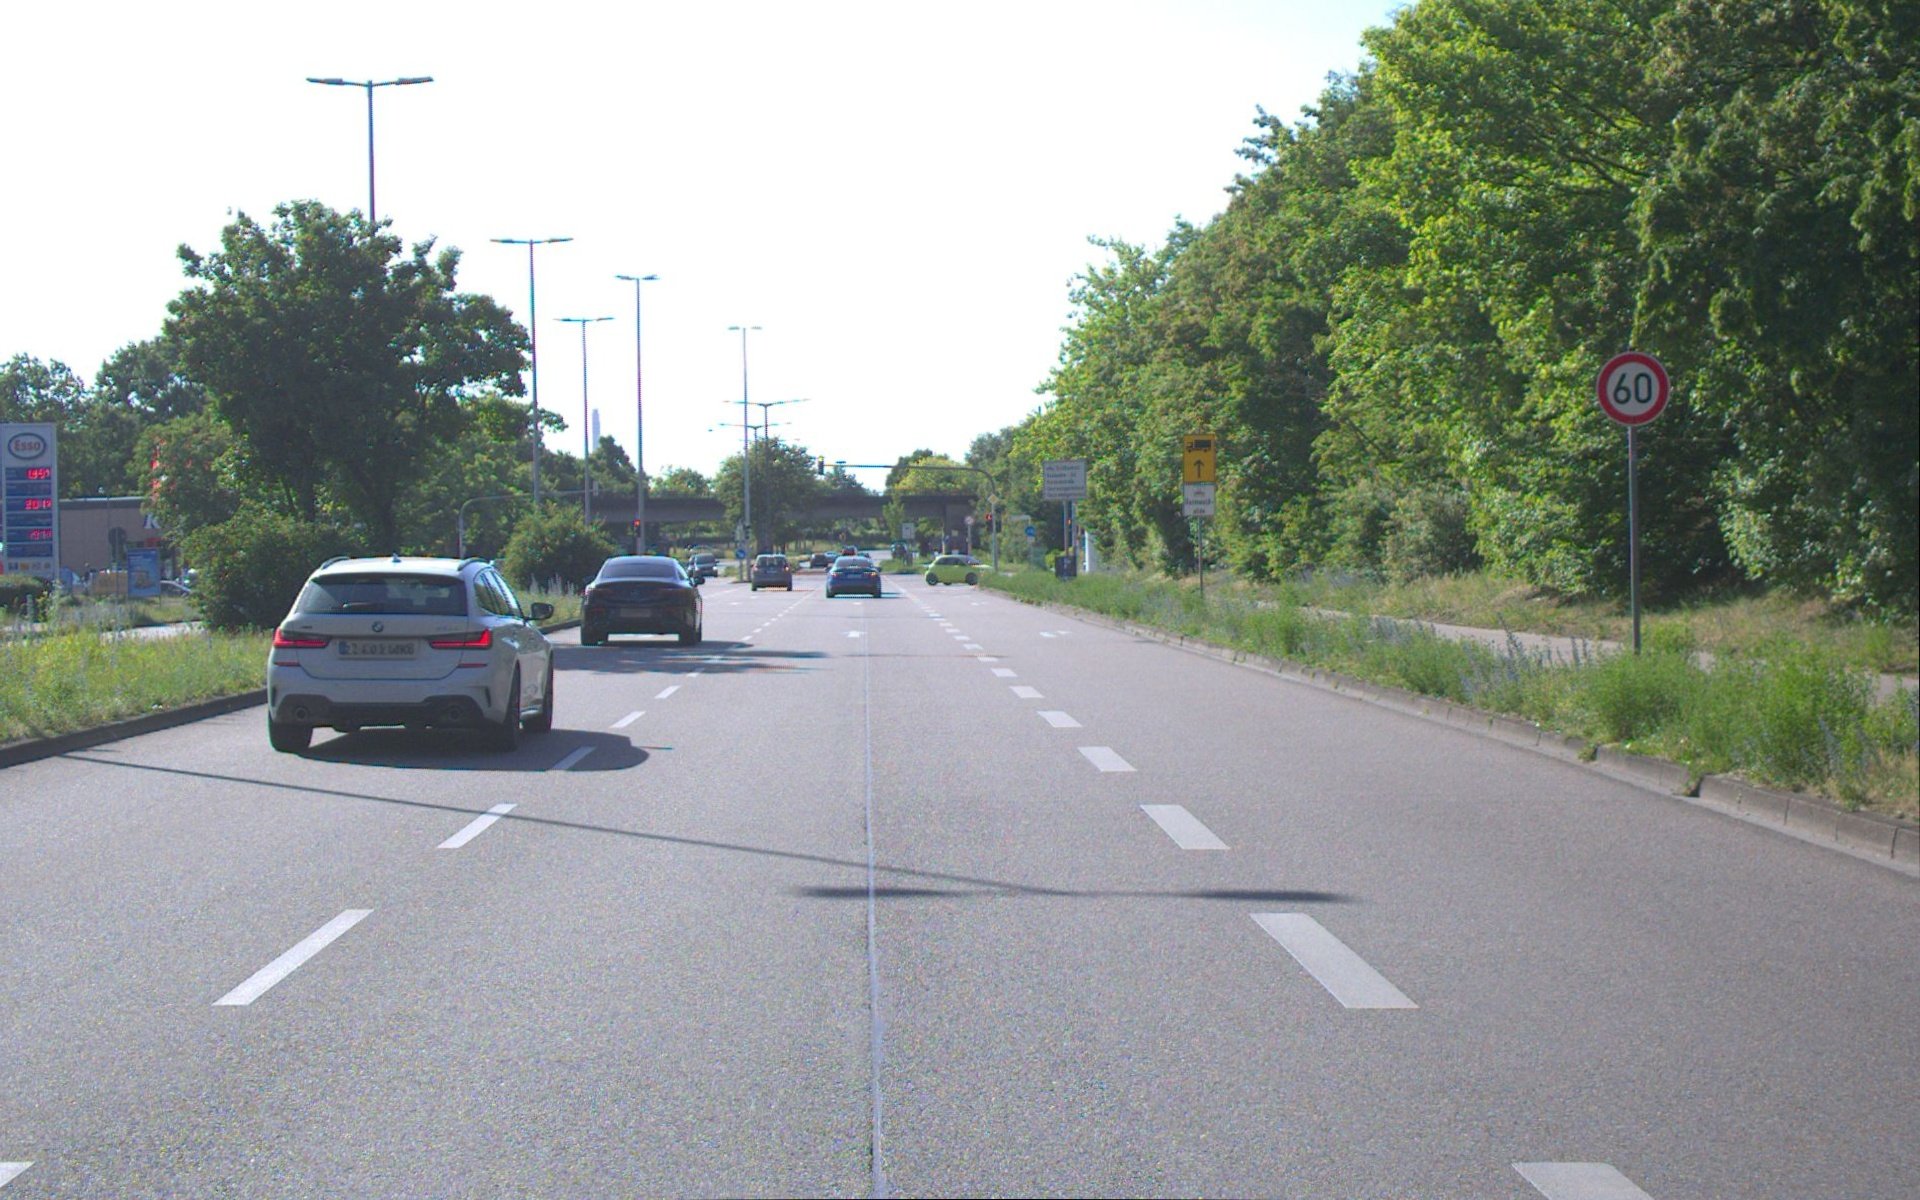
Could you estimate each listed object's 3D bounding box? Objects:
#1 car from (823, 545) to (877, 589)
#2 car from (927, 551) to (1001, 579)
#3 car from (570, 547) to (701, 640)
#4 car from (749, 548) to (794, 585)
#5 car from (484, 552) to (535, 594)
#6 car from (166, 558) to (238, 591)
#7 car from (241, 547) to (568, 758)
[{"bbox_3d":[-3.867,-1.174,121.213,1.861,1.494,4.337,-1,1,-2],"label":"car"},{"bbox_3d":[0.181,-1.766,172.338,3.457,1.392,1.438,0,1,31],"label":"car"},{"bbox_3d":[-5.314,-0.146,56.744,1.861,1.450,4.548,-1,1,-2],"label":"car"},{"bbox_3d":[-8.195,-1.463,149.633,1.861,1.560,4.548,0,1,-2],"label":"car"},{"bbox_3d":[-21.111,-1.280,161.211,1.739,1.796,4.672,-4,1,-1],"label":"car"},{"bbox_3d":[-41.593,-1.419,188.546,4.084,1.777,1.922,0,1,45],"label":"car"},{"bbox_3d":[-4.226,0.341,26.836,1.861,1.450,4.548,1,1,-1],"label":"car"}]
